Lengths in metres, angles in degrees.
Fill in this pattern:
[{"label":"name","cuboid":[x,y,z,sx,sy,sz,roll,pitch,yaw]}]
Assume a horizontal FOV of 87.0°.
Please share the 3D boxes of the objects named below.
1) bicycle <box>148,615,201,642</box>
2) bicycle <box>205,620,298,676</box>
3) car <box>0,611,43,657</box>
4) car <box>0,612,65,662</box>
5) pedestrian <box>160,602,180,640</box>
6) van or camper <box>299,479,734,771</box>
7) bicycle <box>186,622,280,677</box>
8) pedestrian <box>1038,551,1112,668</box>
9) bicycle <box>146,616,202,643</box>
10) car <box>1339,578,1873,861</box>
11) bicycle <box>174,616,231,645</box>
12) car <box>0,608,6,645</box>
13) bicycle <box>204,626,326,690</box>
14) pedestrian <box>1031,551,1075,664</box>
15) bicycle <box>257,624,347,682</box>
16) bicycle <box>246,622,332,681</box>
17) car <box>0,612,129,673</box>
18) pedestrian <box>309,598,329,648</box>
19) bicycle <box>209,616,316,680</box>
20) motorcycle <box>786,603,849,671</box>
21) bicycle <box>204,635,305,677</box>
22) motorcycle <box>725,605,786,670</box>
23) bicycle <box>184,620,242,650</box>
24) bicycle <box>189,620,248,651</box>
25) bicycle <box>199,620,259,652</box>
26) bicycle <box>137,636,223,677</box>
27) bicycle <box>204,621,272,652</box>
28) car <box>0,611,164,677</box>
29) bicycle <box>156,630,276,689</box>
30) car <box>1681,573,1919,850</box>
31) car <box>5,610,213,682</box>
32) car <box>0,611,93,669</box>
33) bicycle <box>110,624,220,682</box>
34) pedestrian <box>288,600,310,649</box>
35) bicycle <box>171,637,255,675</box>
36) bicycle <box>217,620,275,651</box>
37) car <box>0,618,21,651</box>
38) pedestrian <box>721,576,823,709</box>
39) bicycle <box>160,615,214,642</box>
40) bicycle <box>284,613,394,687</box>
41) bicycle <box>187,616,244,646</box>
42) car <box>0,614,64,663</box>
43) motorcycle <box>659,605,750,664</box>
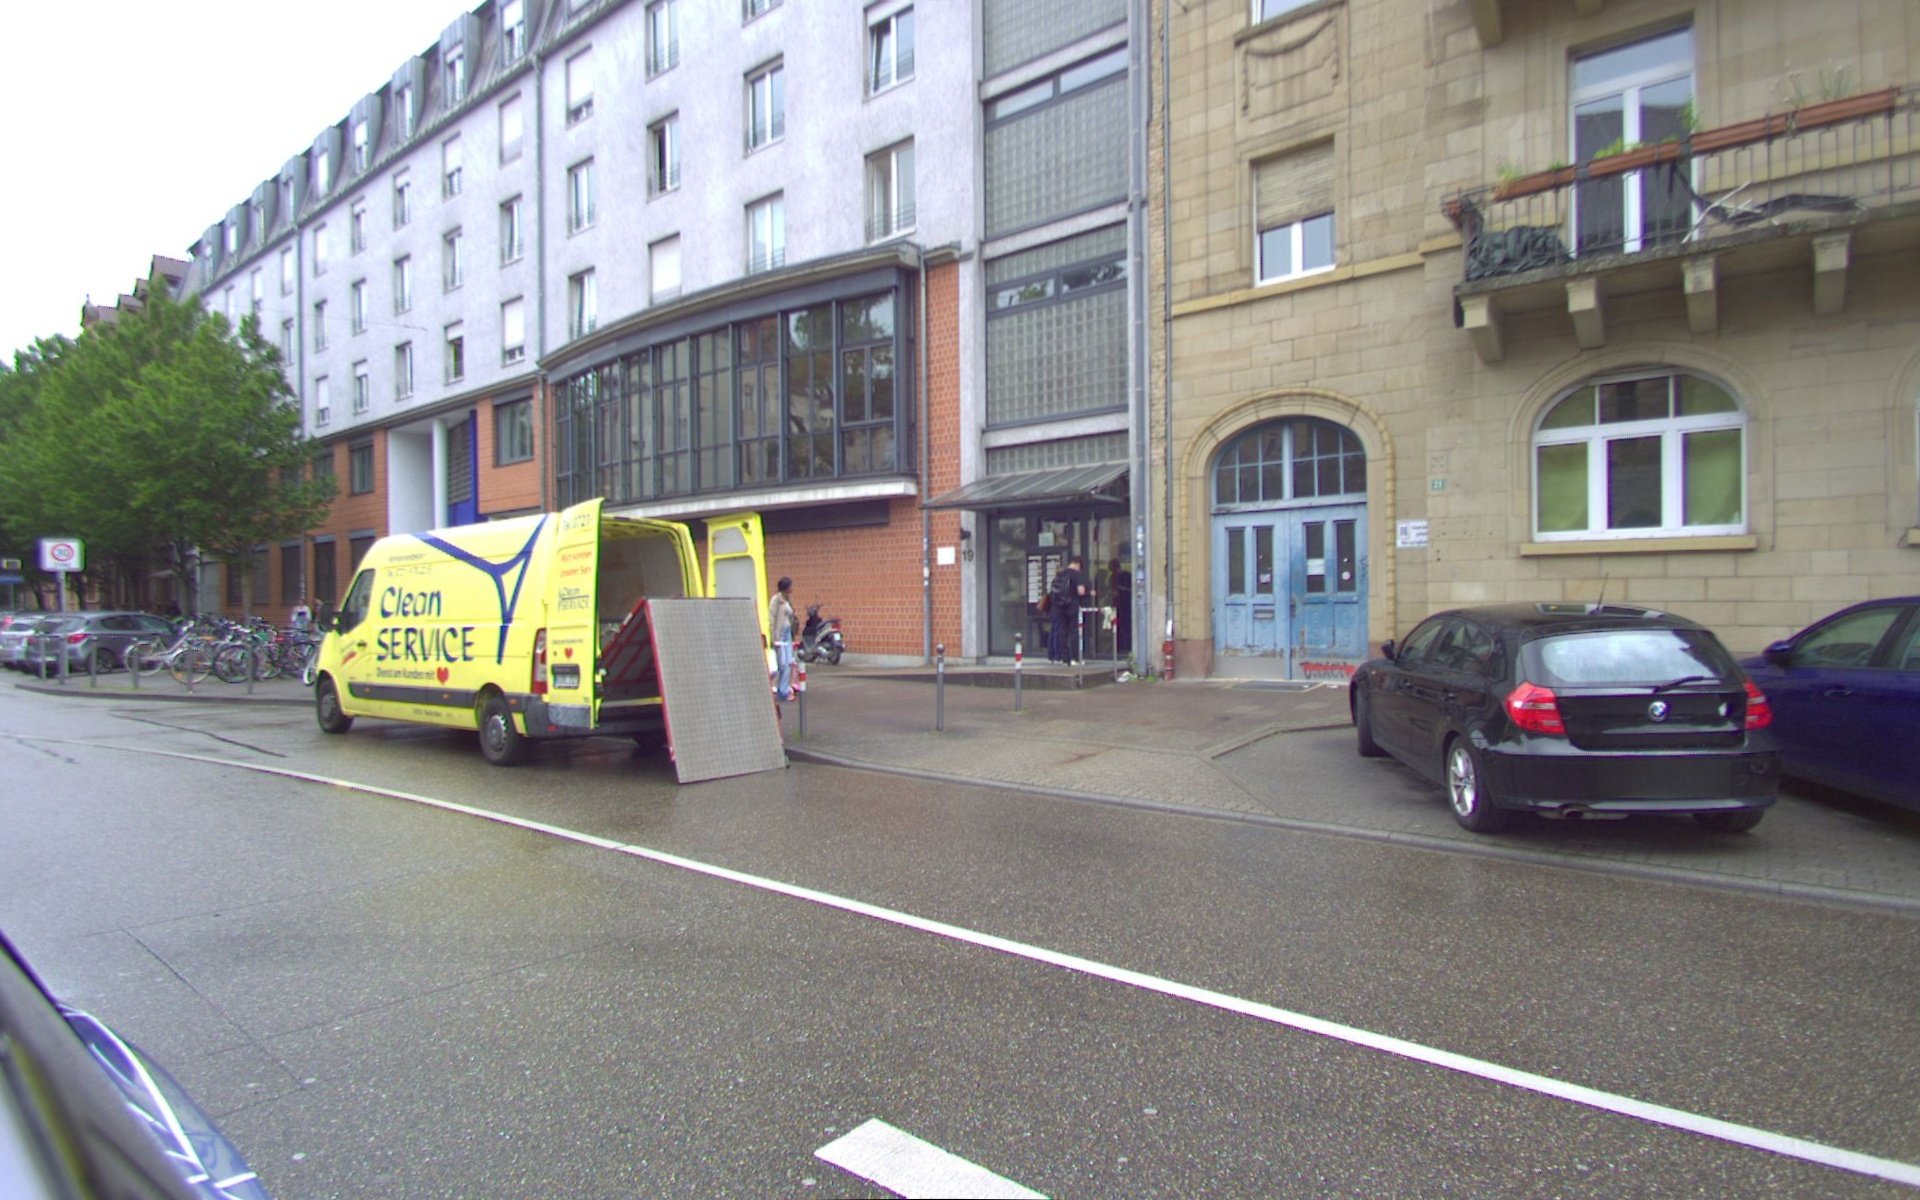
[{"label":"bicycle","cuboid":[-30.293,1.085,39.045,0.464,0.992,1.573,-1,-1,32]},{"label":"bicycle","cuboid":[-15.417,1.026,22.060,0.517,1.114,1.596,-1,1,27]},{"label":"car","cuboid":[-33.553,1.205,34.923,1.138,1.567,2.672,-1,0,11]},{"label":"car","cuboid":[-31.440,1.222,33.153,1.358,1.567,2.971,-1,0,11]},{"label":"pedestrian","cuboid":[-34.202,0.898,43.814,0.533,1.609,0.564,-1,-1,41]},{"label":"van or camper","cuboid":[-5.396,0.275,11.837,5.935,2.631,2.174,-1,-2,39]},{"label":"bicycle","cuboid":[-16.026,1.067,22.332,0.519,1.114,1.592,-1,1,35]},{"label":"pedestrian","cuboid":[1.783,0.151,15.658,0.785,1.741,0.998,-1,-1,31]},{"label":"bicycle","cuboid":[-29.028,1.081,37.395,0.464,0.992,1.573,-1,-1,32]},{"label":"car","cuboid":[4.277,0.674,7.583,1.777,1.523,4.035,0,-1,7]},{"label":"bicycle","cuboid":[-27.077,1.079,36.184,0.464,0.992,1.573,-1,-1,32]},{"label":"car","cuboid":[-49.230,1.299,49.183,1.666,1.910,4.330,0,-1,-1]},{"label":"bicycle","cuboid":[-13.267,1.085,19.353,1.832,1.081,0.610,-2,1,-45]},{"label":"pedestrian","cuboid":[1.475,0.122,16.109,0.467,1.761,0.608,0,-1,-24]},{"label":"bicycle","cuboid":[-13.158,1.046,20.274,0.418,1.072,1.442,-1,1,43]},{"label":"bicycle","cuboid":[-13.756,1.040,20.766,1.439,1.111,0.462,-2,1,-36]},{"label":"car","cuboid":[-24.738,1.135,27.731,1.432,1.514,3.079,-1,0,0]},{"label":"pedestrian","cuboid":[-21.335,0.758,33.673,0.506,1.622,0.427,0,-1,-22]},{"label":"bicycle","cuboid":[-14.545,0.975,21.160,0.517,1.203,1.798,-1,1,27]},{"label":"motorcycle","cuboid":[-2.665,0.664,18.788,0.516,1.190,1.763,-1,0,-30]},{"label":"bicycle","cuboid":[-14.984,1.181,21.545,0.455,0.767,1.757,-1,1,27]},{"label":"motorcycle","cuboid":[-4.004,0.693,19.705,0.516,1.190,2.010,-1,0,-30]},{"label":"bicycle","cuboid":[-25.780,1.188,34.948,0.444,0.992,1.573,-1,-1,32]},{"label":"bicycle","cuboid":[-25.205,1.189,34.401,0.444,0.992,1.573,-1,-1,32]},{"label":"bicycle","cuboid":[-24.321,1.188,33.709,0.444,0.992,1.573,-1,-1,32]},{"label":"bicycle","cuboid":[-17.616,1.256,22.872,0.497,0.811,1.454,0,1,43]},{"label":"bicycle","cuboid":[-23.880,1.188,33.499,0.444,0.992,1.831,-1,-1,32]},{"label":"car","cuboid":[-22.637,1.097,26.181,1.436,1.514,3.070,-1,0,8]},{"label":"bicycle","cuboid":[-14.270,1.117,19.457,0.519,1.000,1.778,-1,1,38]},{"label":"car","cuboid":[6.474,0.638,6.221,1.780,1.585,4.029,0,-1,11]},{"label":"car","cuboid":[-20.335,1.043,24.375,1.720,1.514,3.614,0,0,8]},{"label":"car","cuboid":[-27.157,1.136,29.333,1.432,1.564,3.079,-1,0,0]},{"label":"bicycle","cuboid":[-17.109,1.125,21.826,0.472,1.114,1.791,-1,1,35]},{"label":"pedestrian","cuboid":[-22.091,0.810,33.806,0.596,1.622,0.373,0,-1,-37]},{"label":"bicycle","cuboid":[-16.834,1.248,22.830,0.497,0.727,1.454,0,1,43]},{"label":"bicycle","cuboid":[-24.339,1.197,34.536,0.444,0.992,1.573,-1,-1,32]},{"label":"car","cuboid":[-44.010,1.539,44.901,1.662,1.502,3.799,0,-1,-10]},{"label":"pedestrian","cuboid":[-2.605,0.557,13.992,1.171,1.741,0.777,-1,0,39]},{"label":"bicycle","cuboid":[-29.337,1.087,38.420,0.464,0.992,1.573,-1,-1,32]},{"label":"bicycle","cuboid":[-11.689,0.912,19.139,0.760,1.225,1.917,0,3,5]},{"label":"bicycle","cuboid":[-26.118,1.077,35.515,0.444,0.992,1.573,-1,-1,32]},{"label":"car","cuboid":[-29.566,1.194,31.487,1.177,1.461,2.502,-1,0,0]},{"label":"motorcycle","cuboid":[-5.425,0.715,21.396,2.202,1.165,0.643,-1,0,39]}]
